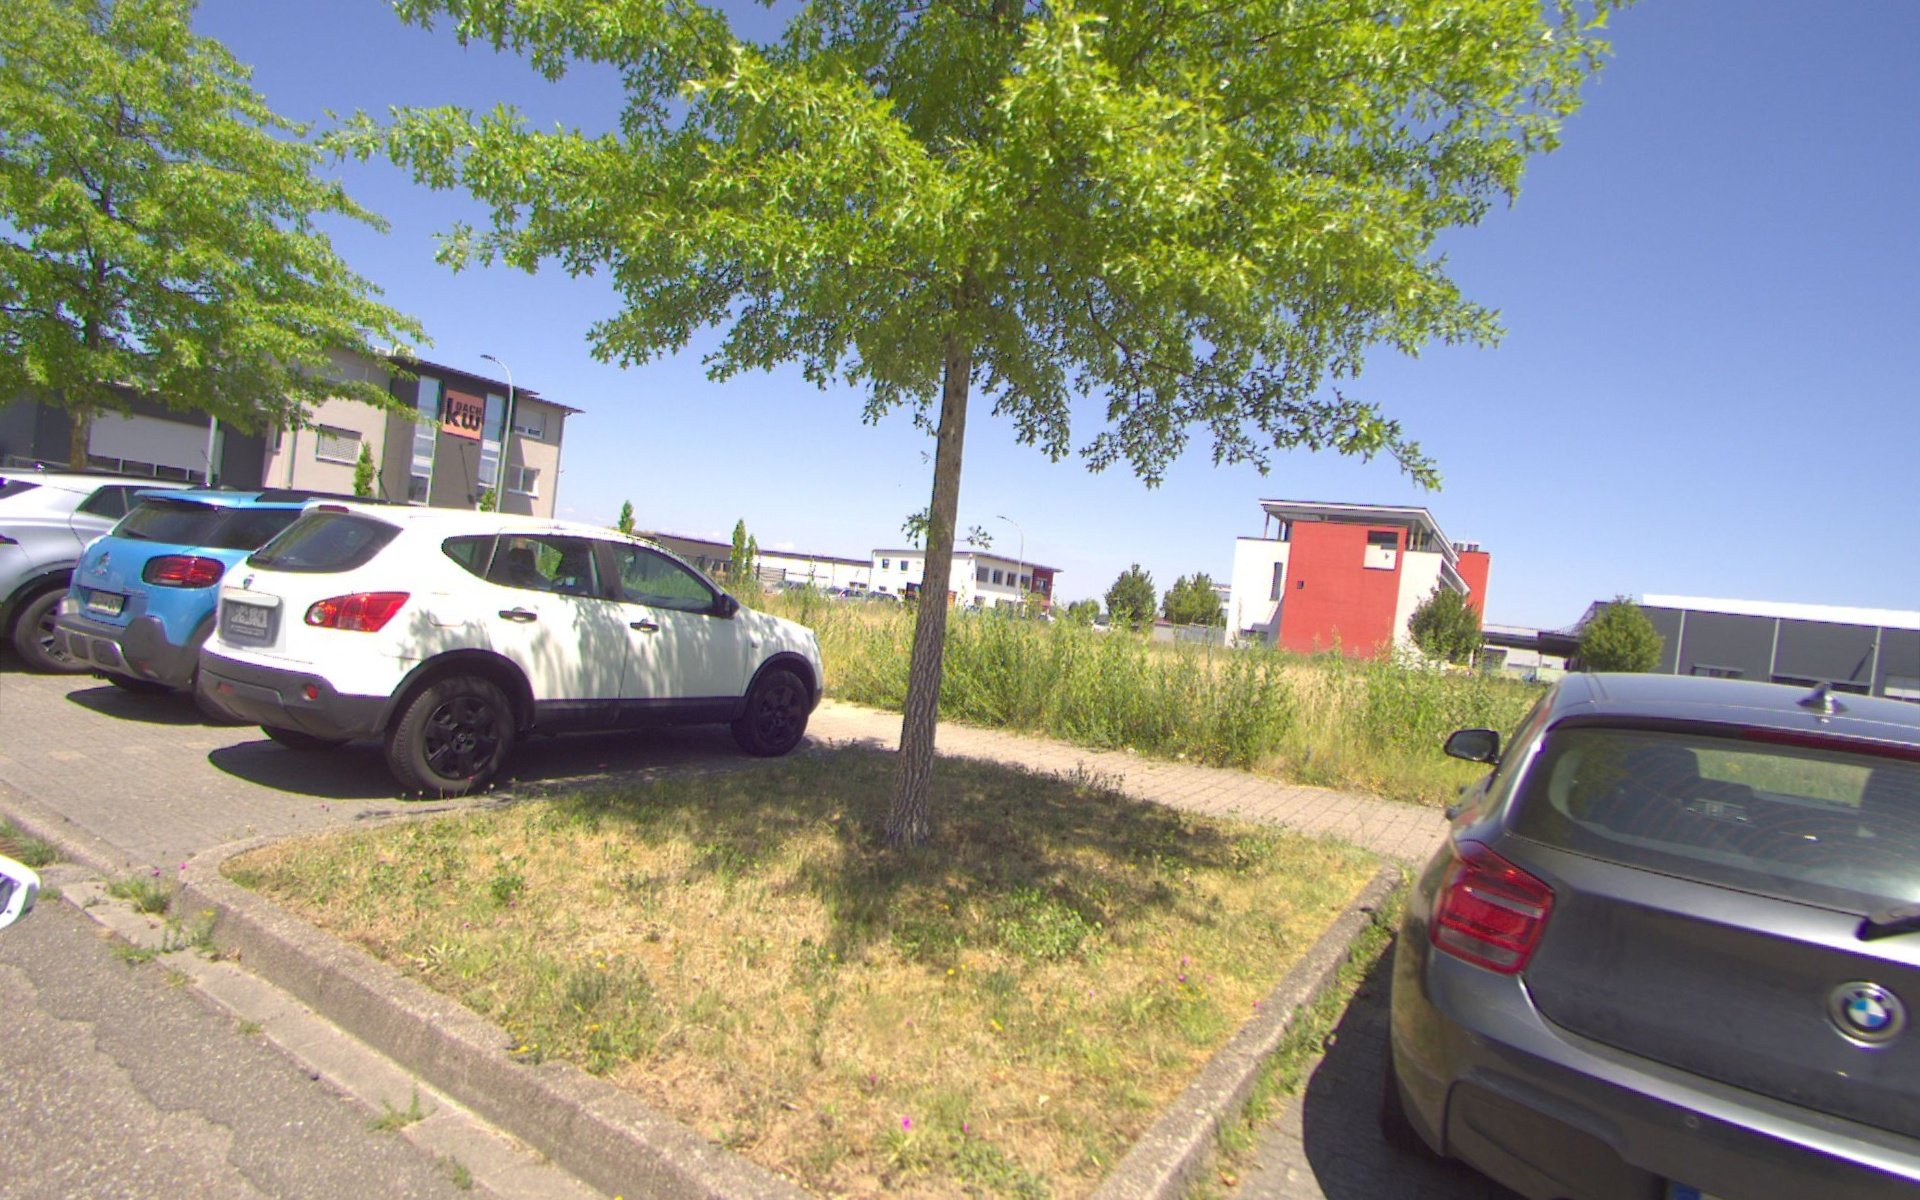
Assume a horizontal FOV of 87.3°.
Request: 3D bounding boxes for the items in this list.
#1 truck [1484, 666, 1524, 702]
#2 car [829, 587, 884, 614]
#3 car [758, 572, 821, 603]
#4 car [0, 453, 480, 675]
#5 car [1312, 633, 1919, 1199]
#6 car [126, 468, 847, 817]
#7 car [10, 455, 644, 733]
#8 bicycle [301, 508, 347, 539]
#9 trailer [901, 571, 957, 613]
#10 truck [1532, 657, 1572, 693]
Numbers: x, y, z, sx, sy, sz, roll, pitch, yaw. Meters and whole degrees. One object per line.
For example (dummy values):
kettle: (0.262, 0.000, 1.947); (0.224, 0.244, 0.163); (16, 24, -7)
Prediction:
truck: (36.207, 5.562, 66.880); (1.966, 2.039, 4.347); (7, 1, 31)
car: (-6.866, 0.052, 67.337); (1.650, 1.401, 3.634); (9, 1, 32)
car: (-10.303, -0.739, 60.936); (1.650, 1.401, 3.634); (9, 1, 32)
car: (-7.086, -0.281, 9.440); (1.820, 1.665, 4.281); (7, 1, 32)
car: (2.641, 0.964, 3.430); (1.878, 1.427, 3.926); (5, 0, 31)
car: (-2.857, 0.243, 6.970); (1.870, 1.628, 4.070); (6, 0, 32)
car: (-4.867, 0.001, 8.347); (1.807, 1.665, 3.990); (7, 1, 31)
bicycle: (-28.986, -3.471, 45.870); (0.436, 1.200, 1.807); (7, 1, 17)
trailer: (-2.282, -0.564, 75.363); (2.195, 2.632, 3.992); (7, 1, 30)
truck: (38.914, 4.895, 66.140); (1.966, 2.039, 3.991); (7, 1, 31)
